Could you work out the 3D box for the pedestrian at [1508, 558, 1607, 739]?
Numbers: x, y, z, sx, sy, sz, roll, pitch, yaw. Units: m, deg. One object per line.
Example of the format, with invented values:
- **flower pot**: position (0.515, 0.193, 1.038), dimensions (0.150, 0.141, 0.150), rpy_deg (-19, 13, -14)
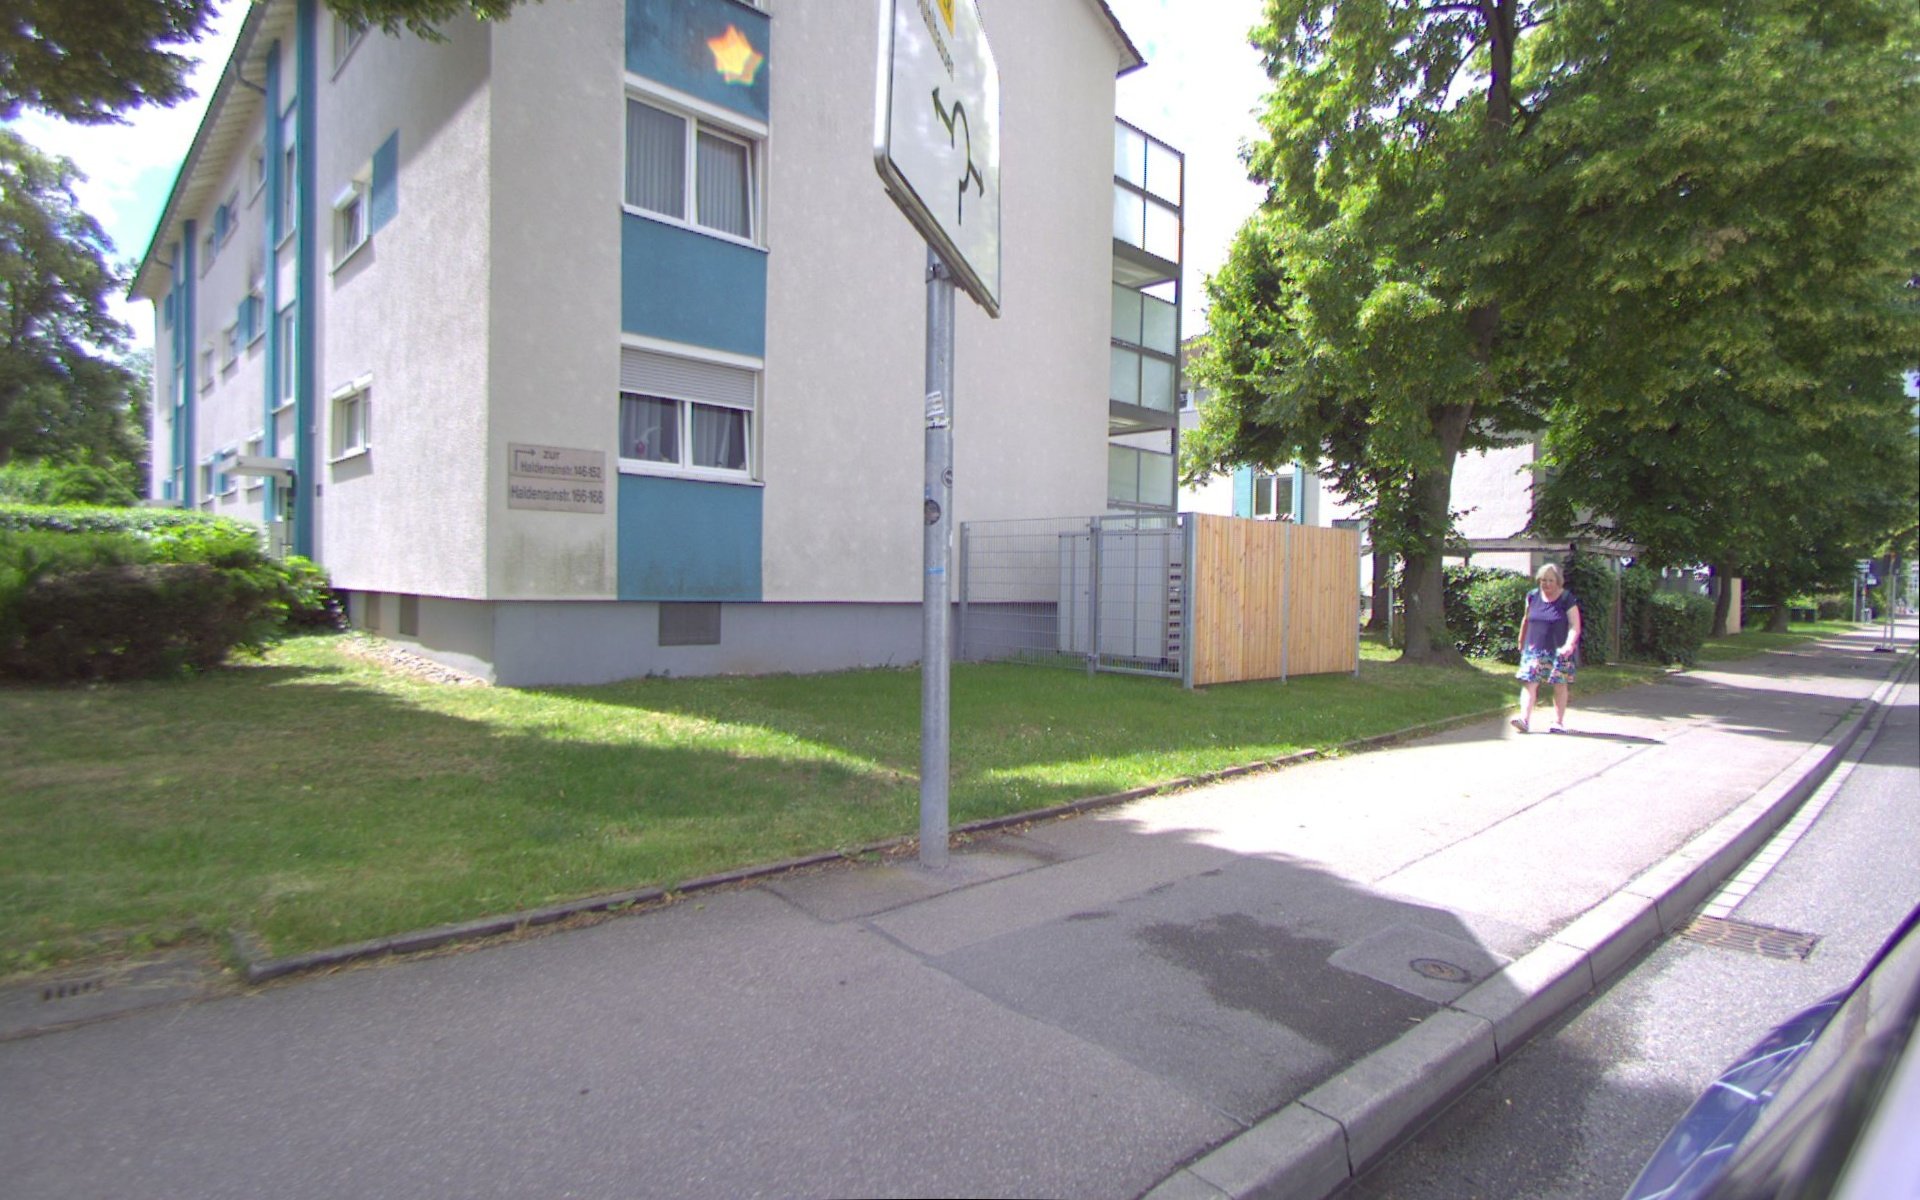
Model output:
- **pedestrian**: position (5.900, 0.452, 9.984), dimensions (0.681, 1.681, 0.819), rpy_deg (2, 0, 40)
